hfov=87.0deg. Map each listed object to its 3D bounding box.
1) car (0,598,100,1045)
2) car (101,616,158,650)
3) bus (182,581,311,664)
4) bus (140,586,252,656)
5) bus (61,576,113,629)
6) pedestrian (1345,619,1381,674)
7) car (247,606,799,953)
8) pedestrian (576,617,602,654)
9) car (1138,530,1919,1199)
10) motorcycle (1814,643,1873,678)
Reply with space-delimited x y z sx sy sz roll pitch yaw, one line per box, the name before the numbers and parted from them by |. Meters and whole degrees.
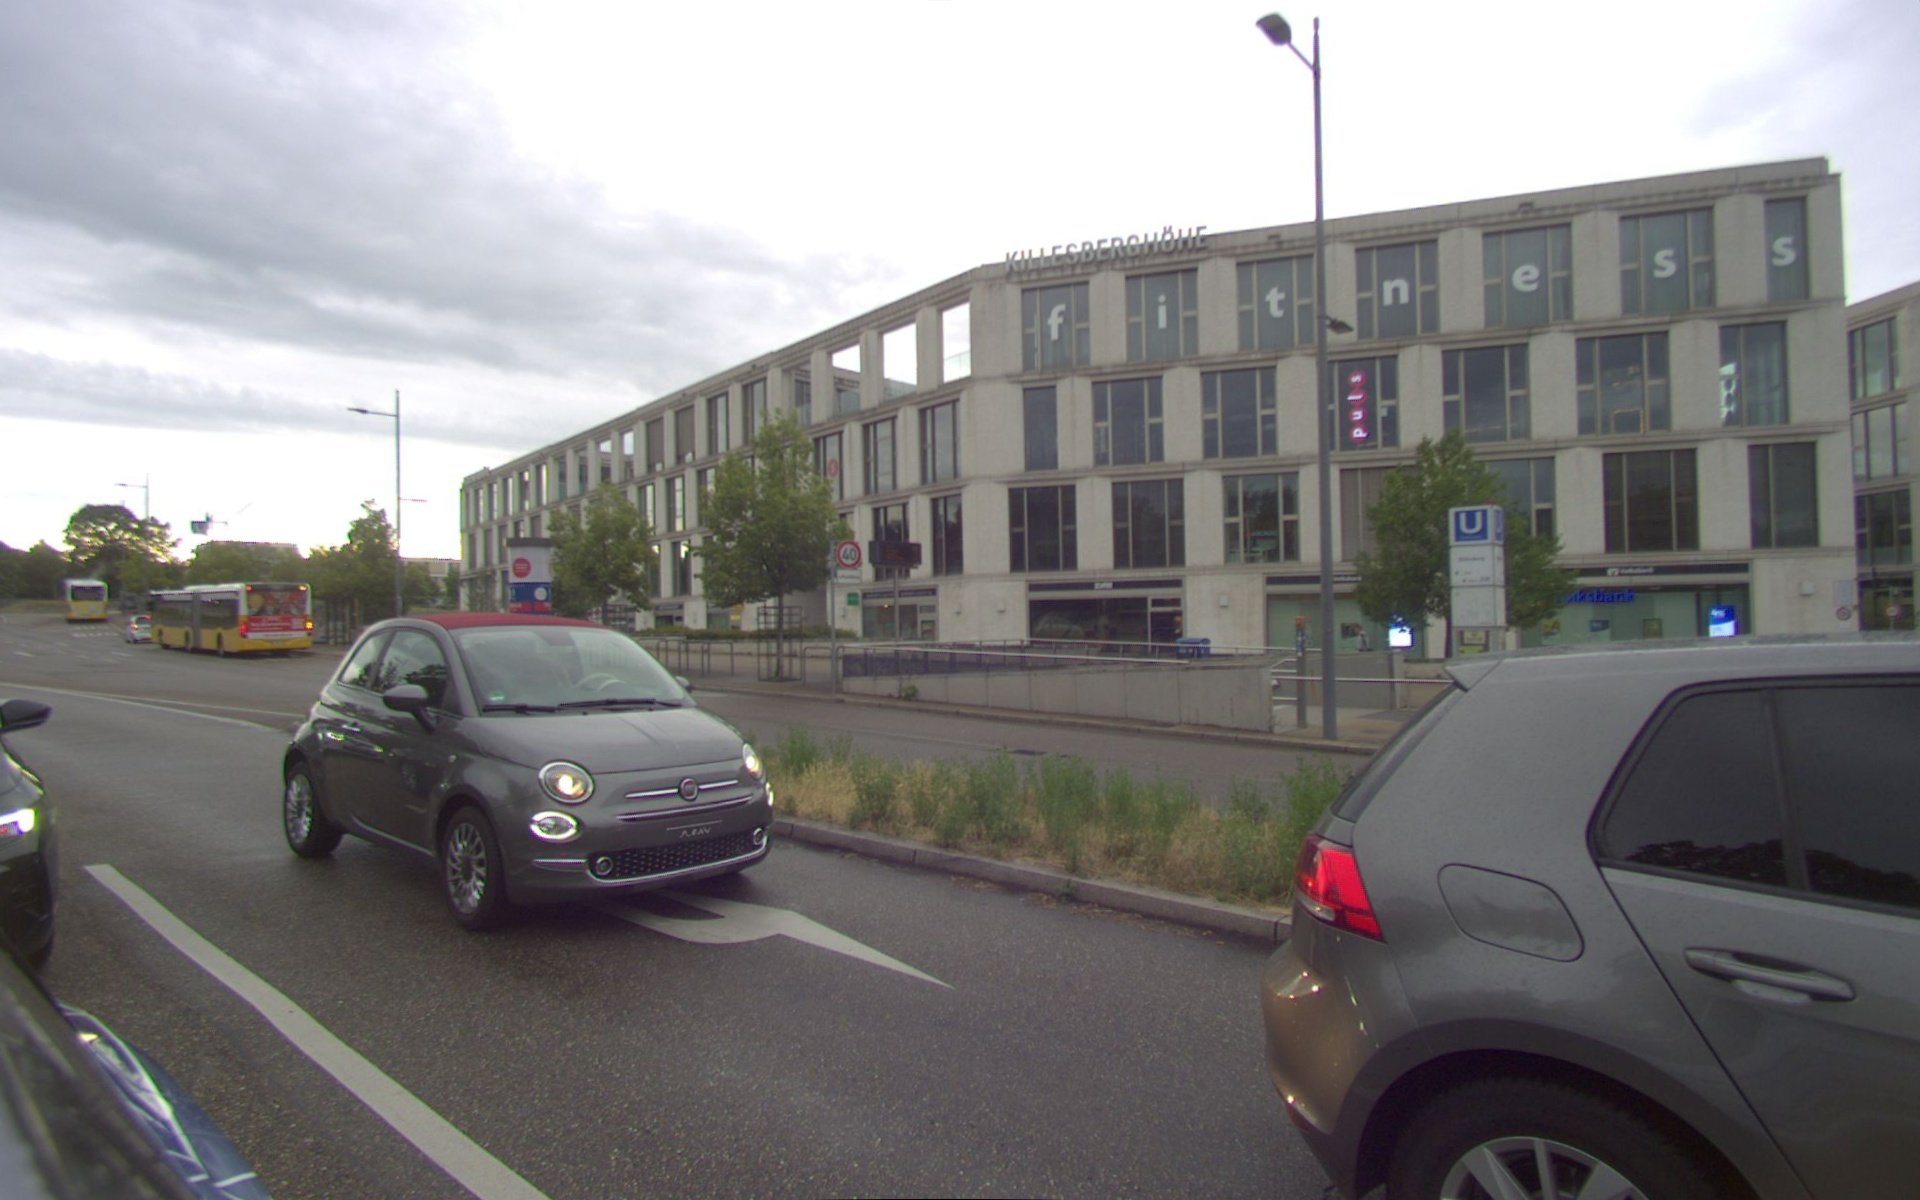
car | -5.413 0.763 4.401 4.766 1.476 1.877 -1 0 41
car | -46.921 1.827 57.161 3.998 1.800 1.843 -1 0 41
bus | -31.142 0.915 43.978 9.206 3.236 2.723 -1 0 43
bus | -38.169 0.985 50.385 9.911 3.205 2.658 -1 0 42
bus | -76.550 0.263 88.988 2.717 4.185 19.383 -1 0 -39
pedestrian | 12.243 1.402 30.741 0.911 1.617 0.756 -1 -1 30
car | -2.753 0.805 6.097 3.502 1.492 1.611 -1 -1 39
pedestrian | -16.048 1.525 43.792 0.967 1.593 0.869 -1 0 -24
car | 2.615 0.649 1.438 4.374 1.492 1.797 -1 -2 41
motorcycle | 20.408 1.393 23.399 0.517 0.746 1.098 -1 0 9
